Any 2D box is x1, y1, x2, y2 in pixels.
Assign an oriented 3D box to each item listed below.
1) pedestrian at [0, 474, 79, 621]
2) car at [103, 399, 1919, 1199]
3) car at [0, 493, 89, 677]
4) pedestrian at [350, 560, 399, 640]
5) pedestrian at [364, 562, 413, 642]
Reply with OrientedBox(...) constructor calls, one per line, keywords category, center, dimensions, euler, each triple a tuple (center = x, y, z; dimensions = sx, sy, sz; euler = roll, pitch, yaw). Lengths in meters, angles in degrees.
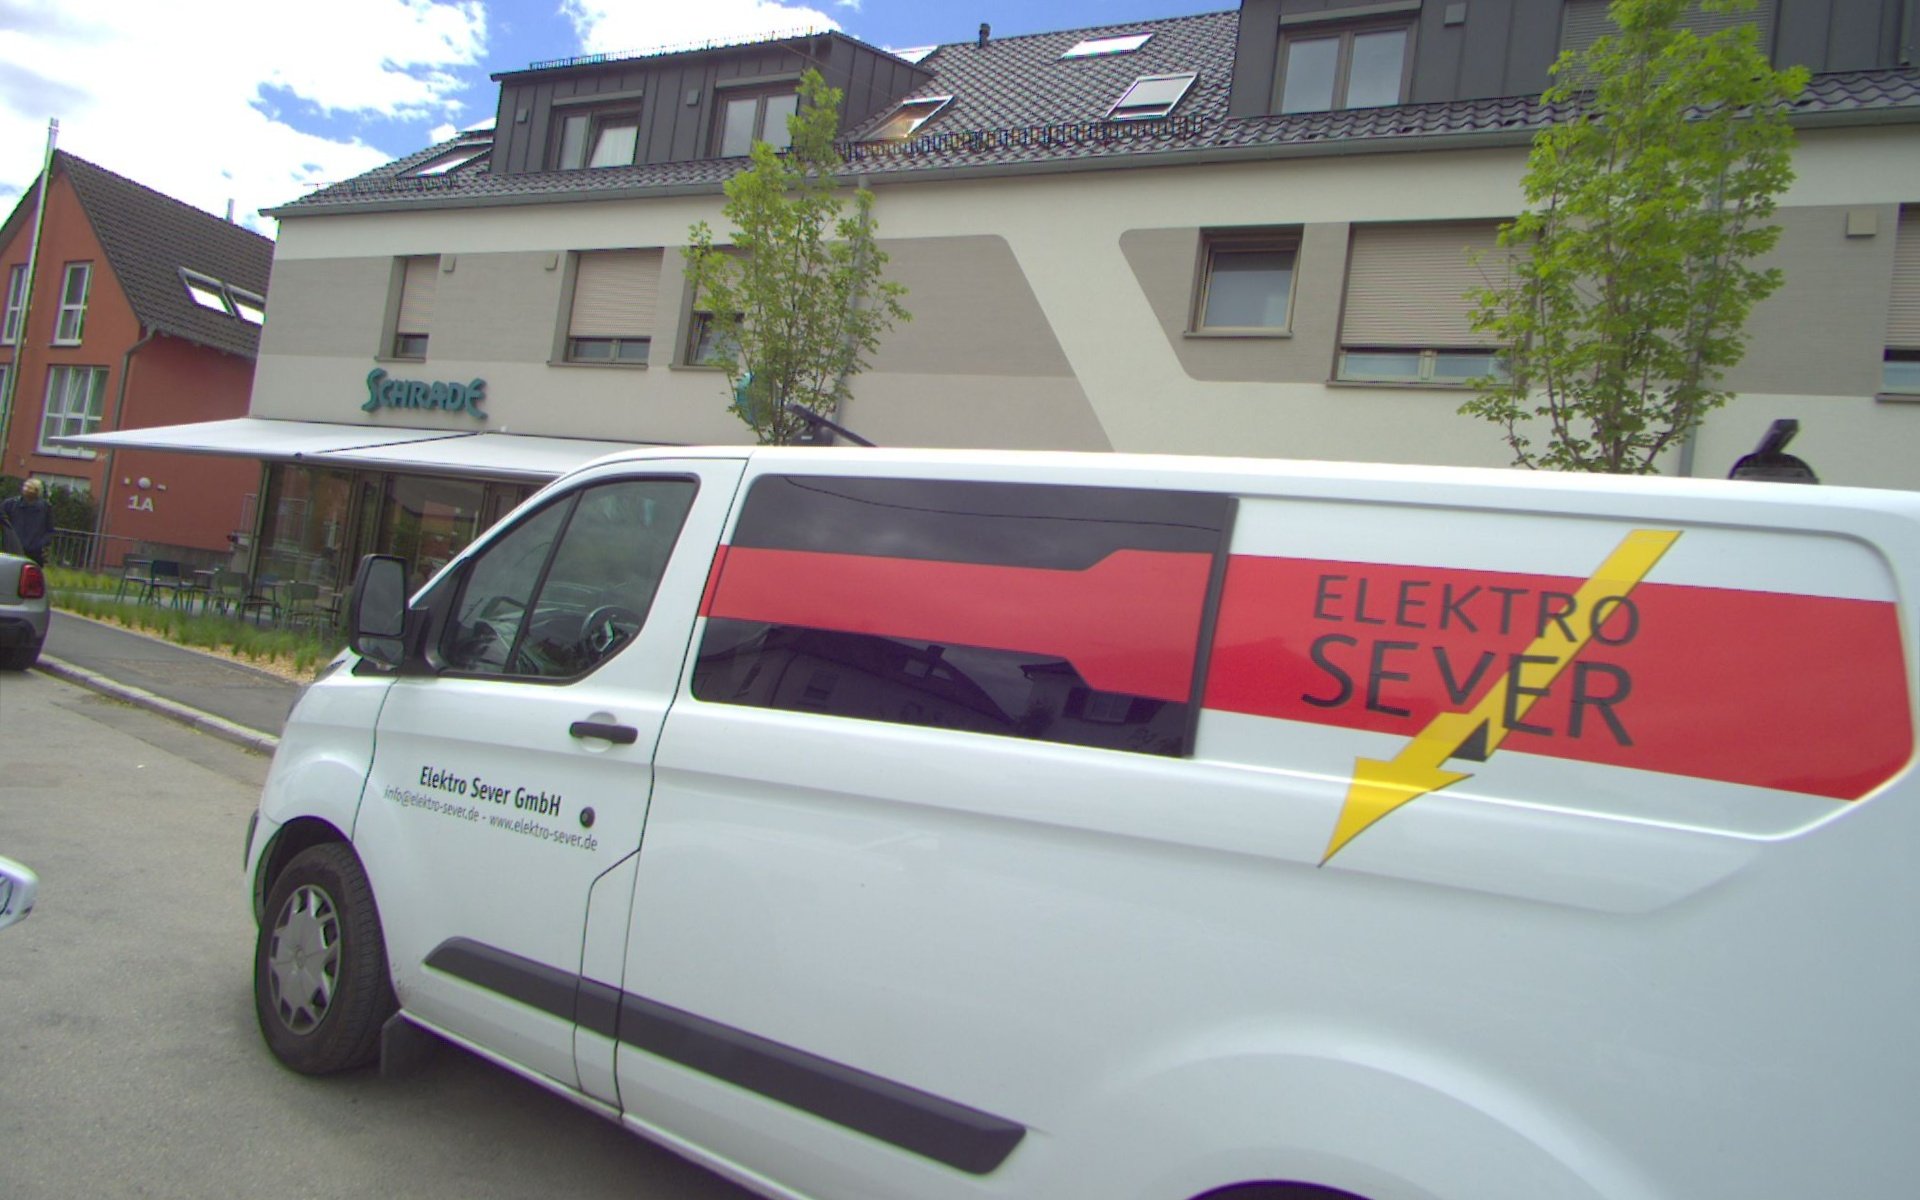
OrientedBox(category="pedestrian", center=(-11.035, -0.615, 11.882), dimensions=(0.520, 1.623, 0.592), euler=(7, -4, 31))
OrientedBox(category="car", center=(-0.165, 0.645, 3.067), dimensions=(4.818, 1.935, 1.965), euler=(7, -4, 29))
OrientedBox(category="car", center=(-9.843, -0.375, 8.985), dimensions=(3.591, 1.510, 1.749), euler=(7, -4, 27))
OrientedBox(category="pedestrian", center=(-9.174, 0.000, 15.776), dimensions=(0.318, 1.195, 0.422), euler=(7, -1, 28))
OrientedBox(category="pedestrian", center=(-8.877, 0.035, 15.626), dimensions=(0.318, 1.179, 0.422), euler=(7, -1, 28))
